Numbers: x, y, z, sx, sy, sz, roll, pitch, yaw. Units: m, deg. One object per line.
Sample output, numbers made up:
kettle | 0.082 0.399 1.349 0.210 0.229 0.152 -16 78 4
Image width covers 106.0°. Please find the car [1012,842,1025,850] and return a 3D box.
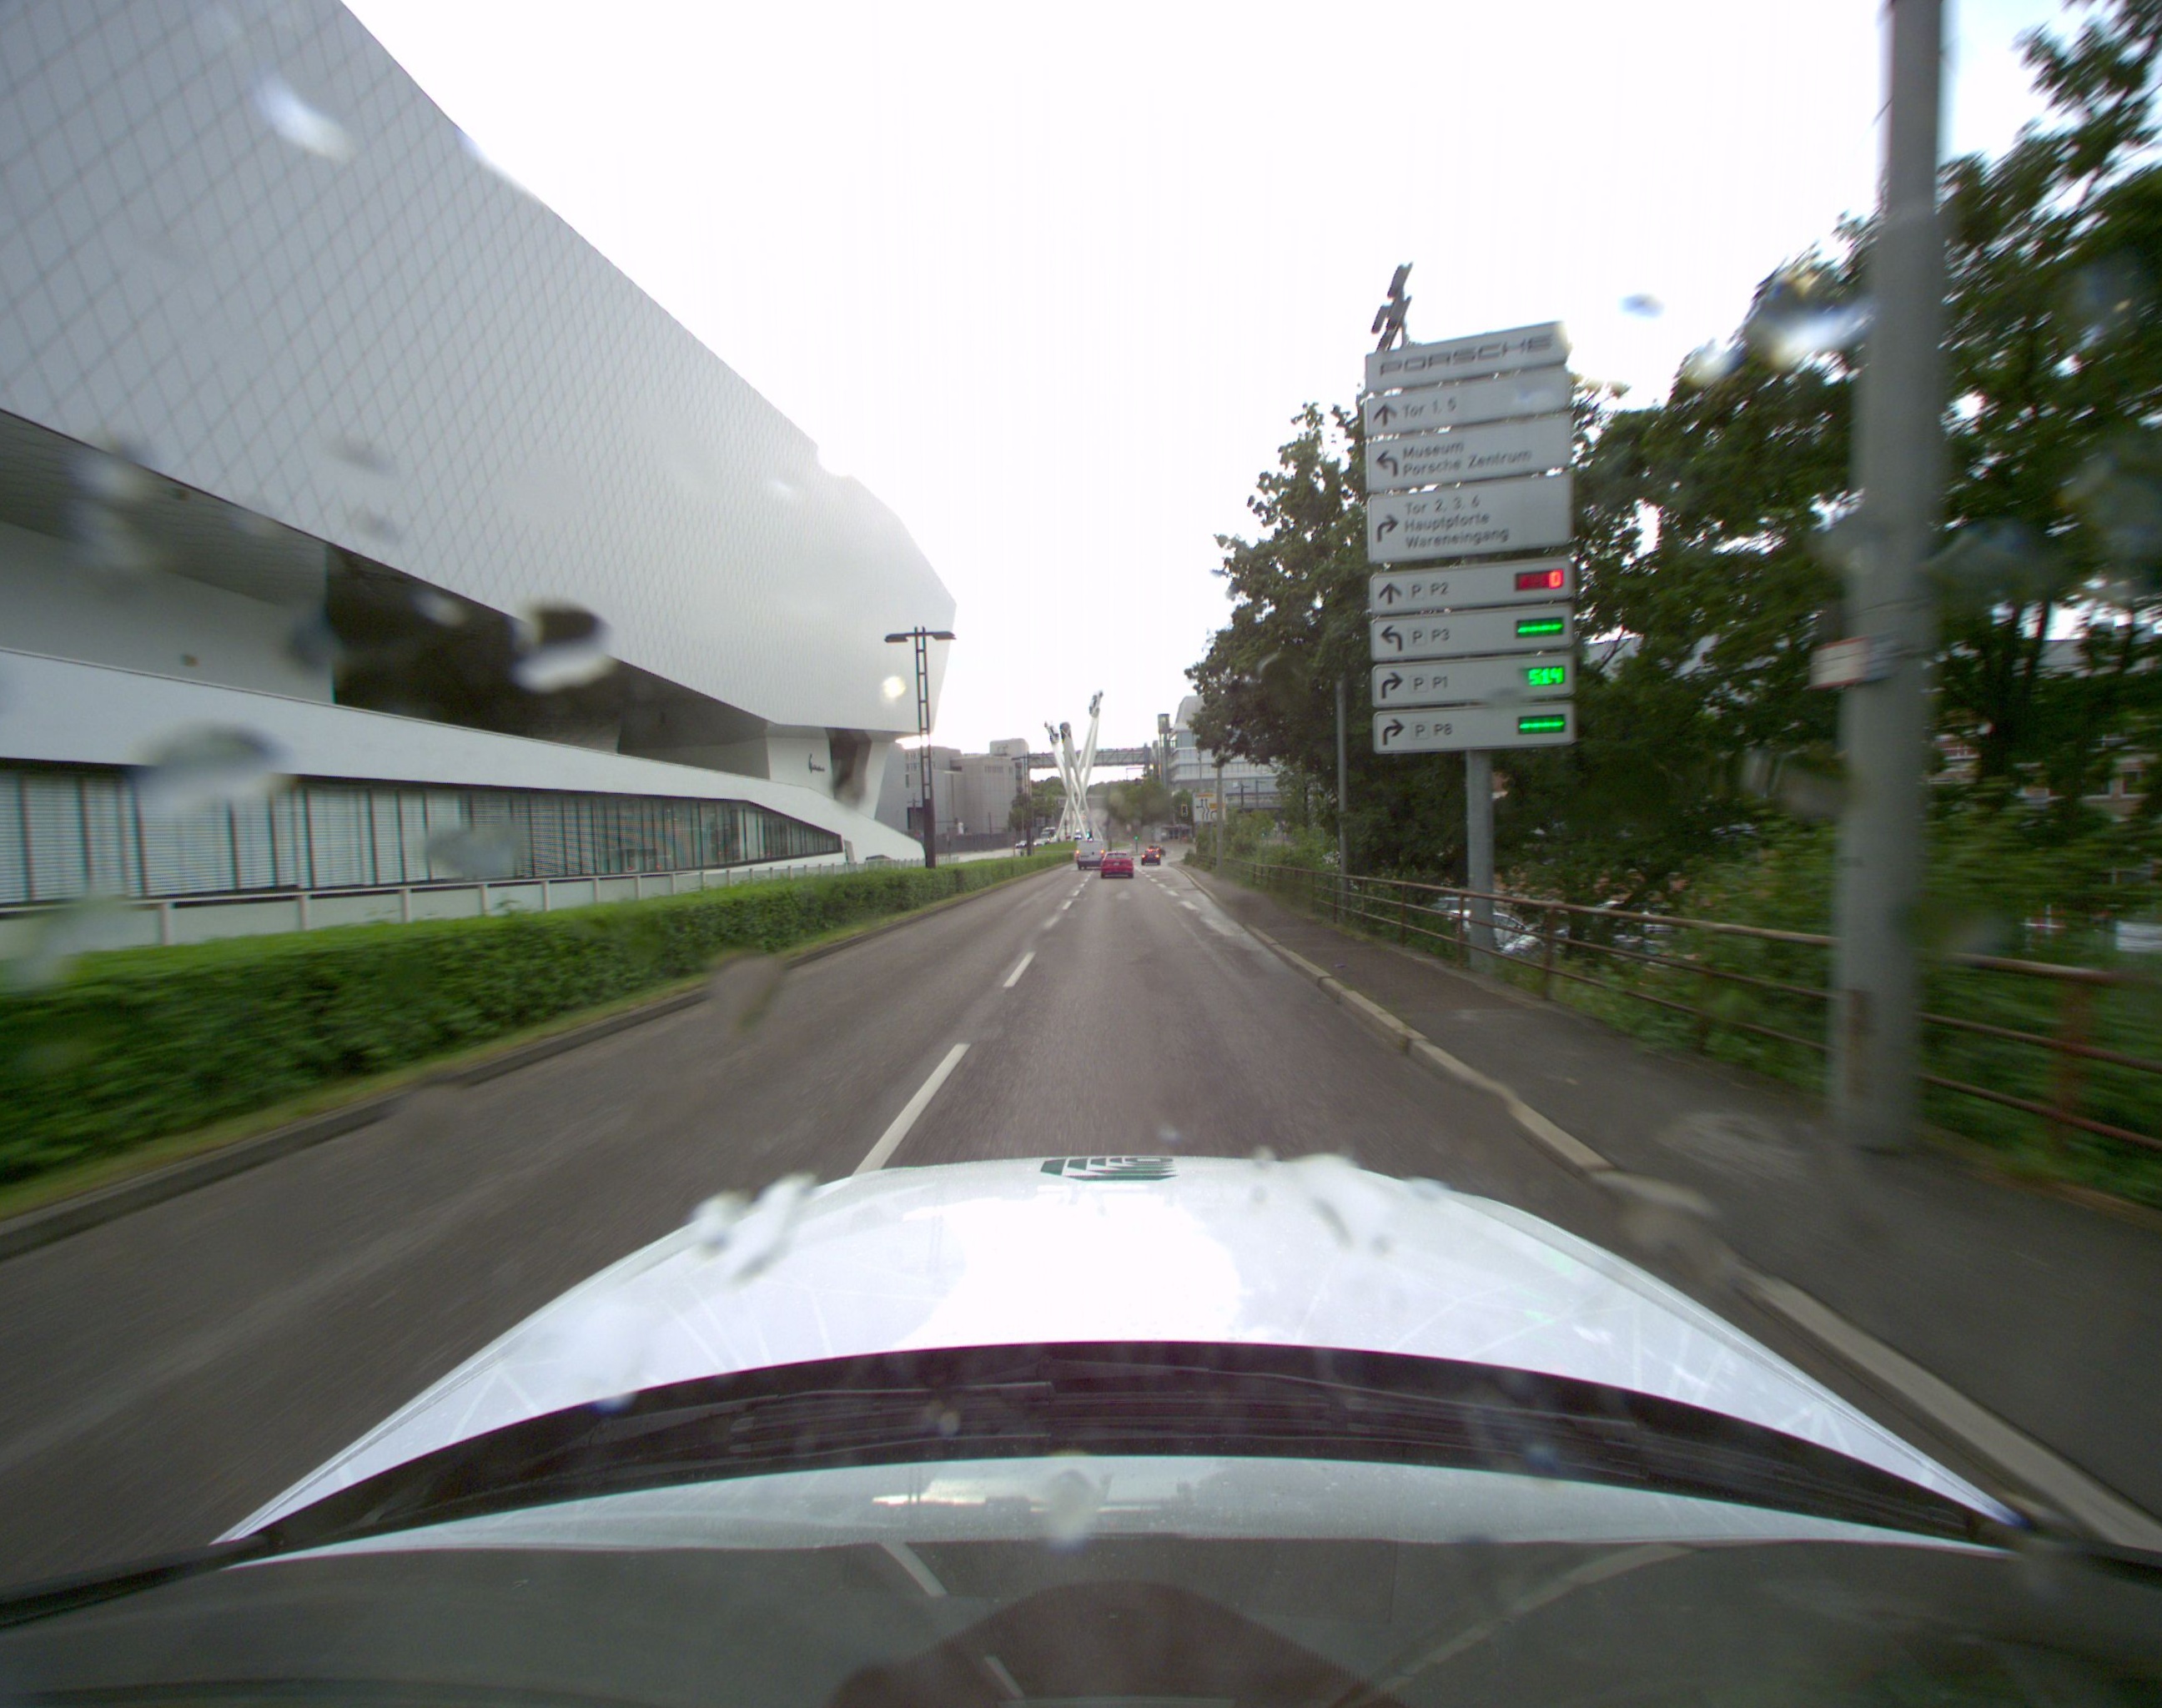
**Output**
car | -12.112 -1.596 159.166 1.825 1.472 4.519 -2 1 4

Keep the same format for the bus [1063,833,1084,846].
bus | -1.969 -3.789 211.389 2.651 3.200 12.712 -1 1 12

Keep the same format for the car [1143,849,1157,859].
car | 8.903 -0.024 105.071 1.551 1.288 3.415 -2 0 2

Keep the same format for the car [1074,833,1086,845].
car | -0.221 -3.211 176.905 1.985 2.447 5.432 -2 1 4

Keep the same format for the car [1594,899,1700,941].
car | 25.025 2.871 36.176 1.697 1.486 3.846 -1 1 -8

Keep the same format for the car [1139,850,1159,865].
car | 6.137 0.321 74.080 1.604 1.291 3.568 -2 0 2

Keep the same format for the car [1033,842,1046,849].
car | -8.067 -1.628 159.276 1.836 1.338 4.006 -2 1 5

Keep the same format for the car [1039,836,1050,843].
car | -7.939 -3.240 179.095 1.825 1.472 4.519 -2 1 4

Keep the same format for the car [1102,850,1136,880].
car | 2.039 0.576 44.202 1.766 1.464 3.734 -2 0 2

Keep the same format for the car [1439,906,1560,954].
car | 15.154 2.733 29.618 3.543 1.306 1.549 5 0 -2

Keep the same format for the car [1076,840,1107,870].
car | 0.815 0.057 62.181 2.224 2.107 4.956 -2 0 1
